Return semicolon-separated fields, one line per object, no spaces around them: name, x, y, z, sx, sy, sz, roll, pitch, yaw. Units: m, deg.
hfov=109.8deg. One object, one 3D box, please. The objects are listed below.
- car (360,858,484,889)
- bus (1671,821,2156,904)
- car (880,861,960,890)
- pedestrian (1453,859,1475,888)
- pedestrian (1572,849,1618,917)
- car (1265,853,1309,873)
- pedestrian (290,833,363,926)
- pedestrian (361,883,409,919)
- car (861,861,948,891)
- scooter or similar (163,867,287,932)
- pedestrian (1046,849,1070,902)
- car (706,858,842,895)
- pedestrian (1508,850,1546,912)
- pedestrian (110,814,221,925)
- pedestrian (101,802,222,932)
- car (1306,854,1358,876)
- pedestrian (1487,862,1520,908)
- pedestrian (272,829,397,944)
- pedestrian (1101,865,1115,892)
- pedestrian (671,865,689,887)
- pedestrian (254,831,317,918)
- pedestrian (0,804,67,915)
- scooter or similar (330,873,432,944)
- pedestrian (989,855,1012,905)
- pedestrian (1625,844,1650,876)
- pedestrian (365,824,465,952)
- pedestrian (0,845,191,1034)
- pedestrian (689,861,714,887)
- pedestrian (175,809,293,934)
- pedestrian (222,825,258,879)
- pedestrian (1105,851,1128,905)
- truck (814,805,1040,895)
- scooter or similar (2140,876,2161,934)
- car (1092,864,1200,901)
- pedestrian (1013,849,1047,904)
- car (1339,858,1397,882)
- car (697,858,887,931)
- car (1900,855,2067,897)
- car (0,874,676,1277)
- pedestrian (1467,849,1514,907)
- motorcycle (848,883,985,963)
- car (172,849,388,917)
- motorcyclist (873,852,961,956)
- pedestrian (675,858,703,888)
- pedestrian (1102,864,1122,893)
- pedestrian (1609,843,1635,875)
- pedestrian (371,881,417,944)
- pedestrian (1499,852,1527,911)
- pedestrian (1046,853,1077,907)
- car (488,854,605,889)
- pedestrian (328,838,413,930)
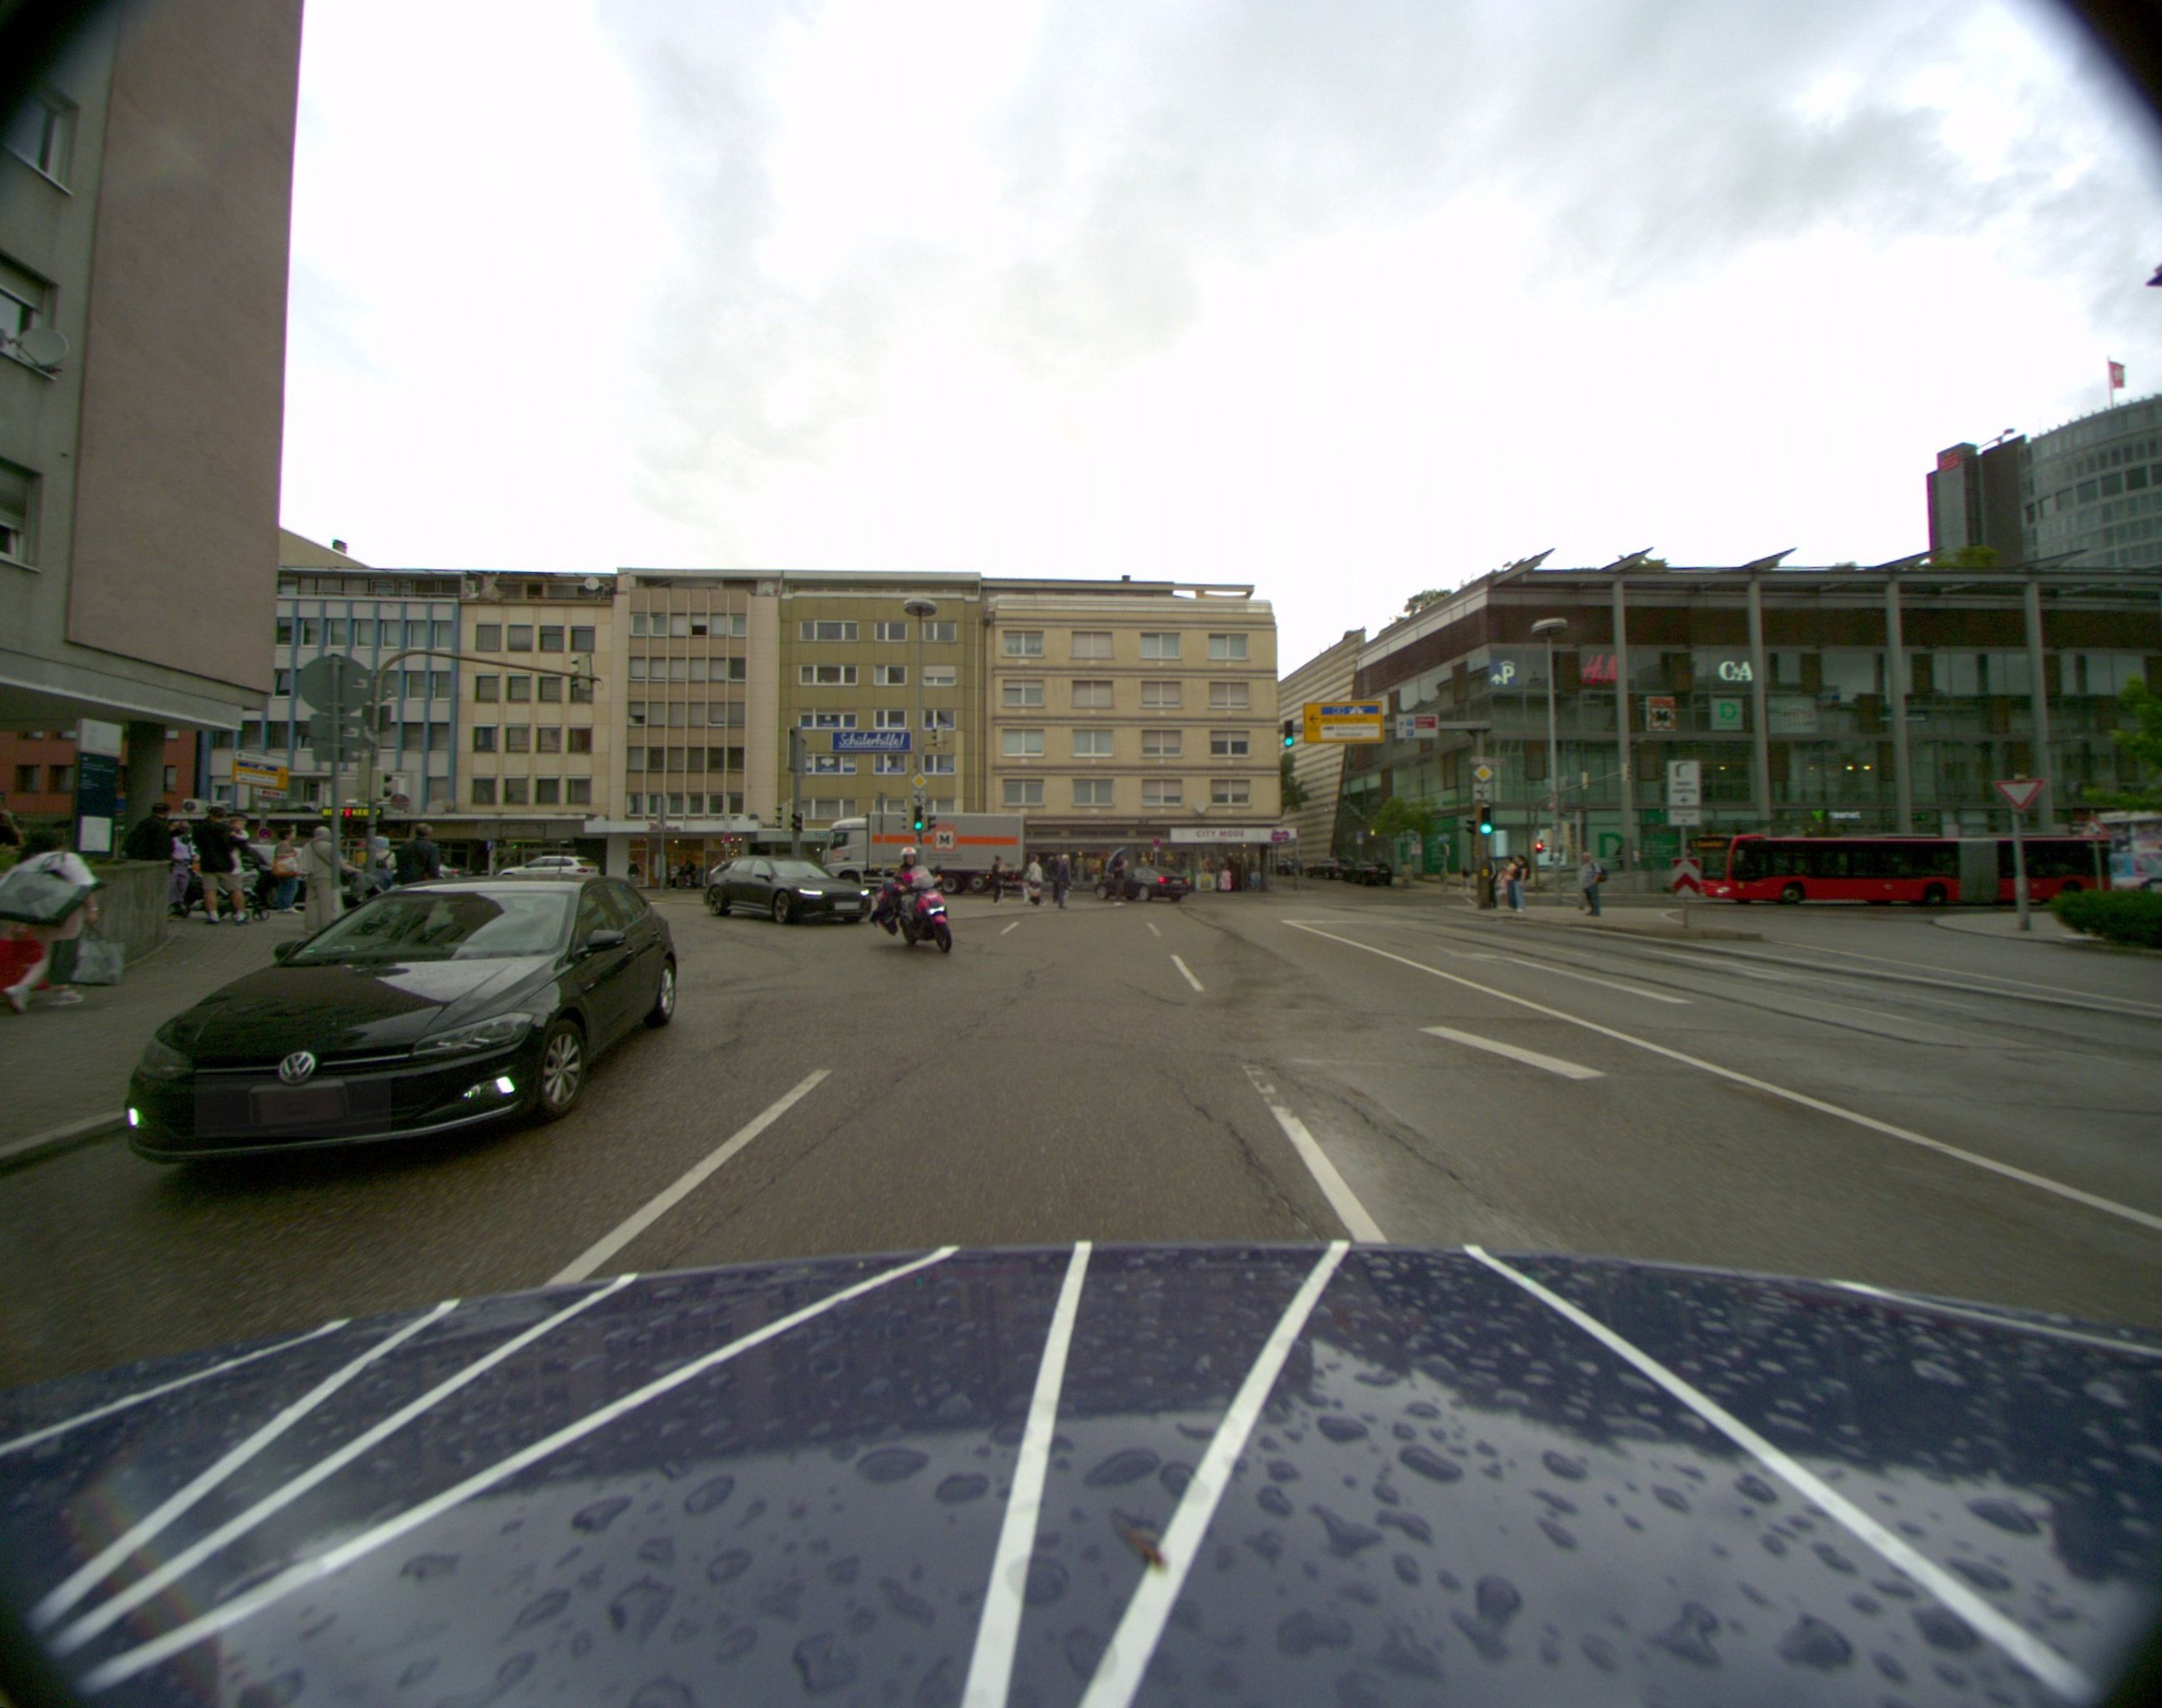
car;-35.248;1.042;40.731;4.877;1.599;1.871;0;-1;-2
bus;36.310;0.396;33.513;18.465;3.301;2.930;1;0;-1
car;-8.809;1.189;41.850;4.202;1.554;1.704;1;-1;-9
pedestrian;23.984;1.229;47.590;0.696;1.751;1.046;1;-1;-35
pedestrian;13.629;0.752;20.163;0.617;1.768;0.831;0;0;-8
car;17.893;0.749;66.177;1.899;1.537;4.376;-2;1;-12
pedestrian;-13.742;0.476;13.842;0.594;1.624;0.747;2;-4;39
pedestrian;-11.432;0.772;12.490;0.457;0.567;0.373;0;-3;17
car;-9.653;1.200;41.922;4.398;1.541;1.853;0;1;-3
scooter or similar;-14.110;0.753;12.562;1.048;0.980;0.773;4;-3;-3
pedestrian;-0.759;0.694;25.191;0.706;1.701;0.786;1;0;2
car;-12.072;0.902;30.125;4.629;1.407;1.798;0;-1;-3
pedestrian;12.451;0.739;21.217;0.638;1.679;0.784;0;0;6
pedestrian;-14.947;0.264;12.428;0.617;1.711;0.839;3;-2;6
pedestrian;-14.105;0.206;11.684;0.731;1.919;0.821;2;-2;6
car;19.447;0.830;59.099;1.899;1.537;4.376;-2;1;-12
pedestrian;12.485;0.907;22.451;0.588;1.331;0.631;0;0;-8
pedestrian;-11.643;0.506;11.889;0.837;1.711;1.040;0;-3;14
pedestrian;1.580;1.440;44.459;0.681;1.527;0.787;0;0;-4
pedestrian;-23.224;1.263;44.006;0.720;1.242;0.536;0;0;-4
pedestrian;-15.848;0.408;15.143;0.780;1.681;0.629;1;-3;33
pedestrian;-18.404;0.091;13.148;0.667;1.855;0.837;0;0;-18
scooter or similar;-11.466;0.895;12.478;0.654;1.102;0.975;1;-3;17
pedestrian;-2.438;0.770;22.987;0.560;1.479;0.707;2;0;2
pedestrian;34.714;0.351;47.397;0.849;1.968;0.877;1;0;-3
pedestrian;-10.205;0.518;11.655;0.785;1.855;0.619;4;-4;14
pedestrian;-8.984;0.709;6.699;1.060;1.522;1.025;3;0;-20
pedestrian;-21.466;1.138;42.990;1.065;1.475;0.668;0;0;-4
pedestrian;-13.344;0.294;11.999;0.658;1.852;0.839;4;-4;2
pedestrian;-13.279;-0.026;11.998;0.440;0.842;0.221;1;1;18
pedestrian;1.148;0.768;24.540;0.693;1.682;0.759;2;0;2
truck;-7.535;-0.150;38.300;10.764;4.307;2.856;0;-1;0
scooter or similar;22.137;1.032;15.091;0.543;1.179;1.386;0;-2;17
car;2.593;1.156;31.511;2.004;1.417;4.622;3;-2;-33
pedestrian;-1.564;0.691;23.547;0.914;1.662;0.981;0;0;3
car;20.173;1.100;53.578;1.806;1.537;4.292;0;0;-12
car;-6.849;0.868;17.763;4.721;1.482;2.005;-1;-2;38
car;45.820;1.106;38.682;5.906;2.063;2.451;0;0;-4
car;-4.217;0.986;5.266;1.745;1.423;3.873;-1;2;-17
pedestrian;12.823;0.734;23.841;0.853;1.777;1.012;0;0;-9
motorcycle;-2.729;1.067;12.423;1.317;1.128;2.179;2;-1;-40
car;-19.560;0.666;18.605;4.096;1.538;1.875;0;0;14
motorcyclist;-2.667;0.773;12.347;1.095;1.595;0.950;0;-1;-39
pedestrian;-22.380;1.081;43.395;1.086;1.685;0.954;0;0;-4
pedestrian;1.803;1.399;43.681;0.843;1.618;0.776;0;0;44
pedestrian;33.751;0.339;47.378;0.974;1.968;0.883;1;0;-3
pedestrian;-10.983;0.934;12.143;0.471;0.993;0.262;0;-6;20
pedestrian;12.450;0.791;21.885;0.501;1.659;0.571;0;-1;4
pedestrian;-0.569;0.753;22.505;0.854;1.559;0.715;1;0;2
car;-28.798;0.944;41.045;4.961;1.816;1.855;0;-1;-2
pedestrian;-13.198;0.573;14.138;0.838;1.626;0.541;4;-5;-3
